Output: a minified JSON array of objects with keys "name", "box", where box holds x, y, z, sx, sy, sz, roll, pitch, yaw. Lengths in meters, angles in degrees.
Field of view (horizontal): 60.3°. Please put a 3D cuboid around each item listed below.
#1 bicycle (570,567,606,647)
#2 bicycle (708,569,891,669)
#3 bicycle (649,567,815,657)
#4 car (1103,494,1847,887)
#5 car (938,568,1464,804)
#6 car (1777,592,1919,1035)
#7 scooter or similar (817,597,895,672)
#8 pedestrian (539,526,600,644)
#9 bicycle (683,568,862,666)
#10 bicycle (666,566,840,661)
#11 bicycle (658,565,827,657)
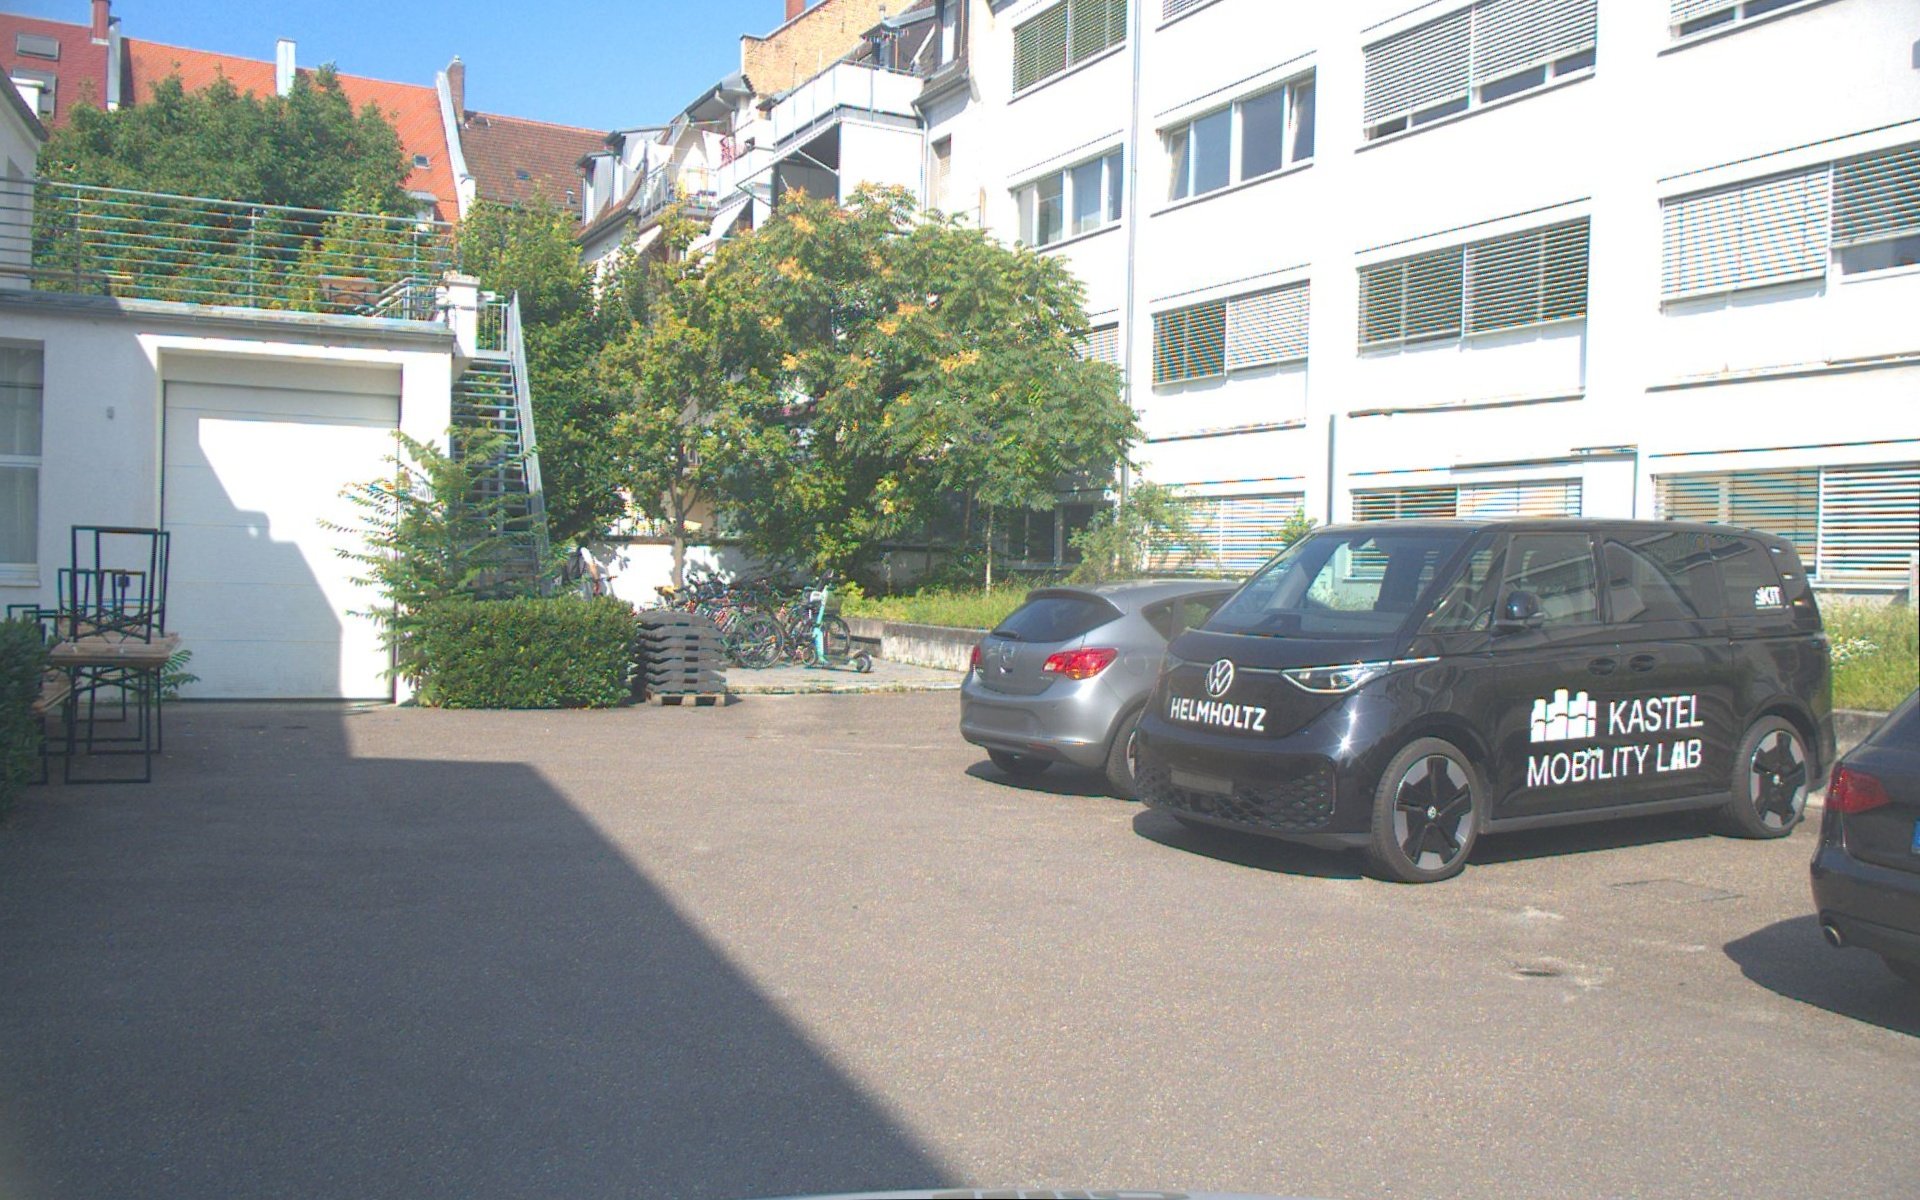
[{"name":"bicycle","box":[-5.809,0.093,25.897,0.479,1.163,1.989,0,2,-11]},{"name":"bicycle","box":[-2.147,0.258,22.241,2.377,1.268,0.523,2,1,-22]},{"name":"bicycle","box":[-3.401,0.179,24.744,2.377,1.268,0.523,2,1,-22]},{"name":"car","box":[3.146,0.408,9.887,4.292,1.891,1.895,0,2,-32]},{"name":"car","box":[1.888,0.544,12.457,3.864,1.491,1.643,0,2,-36]},{"name":"car","box":[5.225,0.745,6.096,4.176,1.462,1.678,0,2,-24]},{"name":"scooter or similar","box":[-1.395,0.456,22.083,0.978,0.940,0.359,3,1,31]},{"name":"pedestrian","box":[-6.125,-0.232,25.952,0.842,1.802,0.610,2,1,-10]},{"name":"bicycle","box":[-2.573,0.239,22.799,2.377,1.268,0.523,2,1,-22]},{"name":"bicycle","box":[-2.930,0.200,23.545,2.377,1.268,0.523,2,1,-22]},{"name":"bicycle","box":[-3.173,0.170,24.237,2.377,1.268,0.523,2,1,-22]}]
